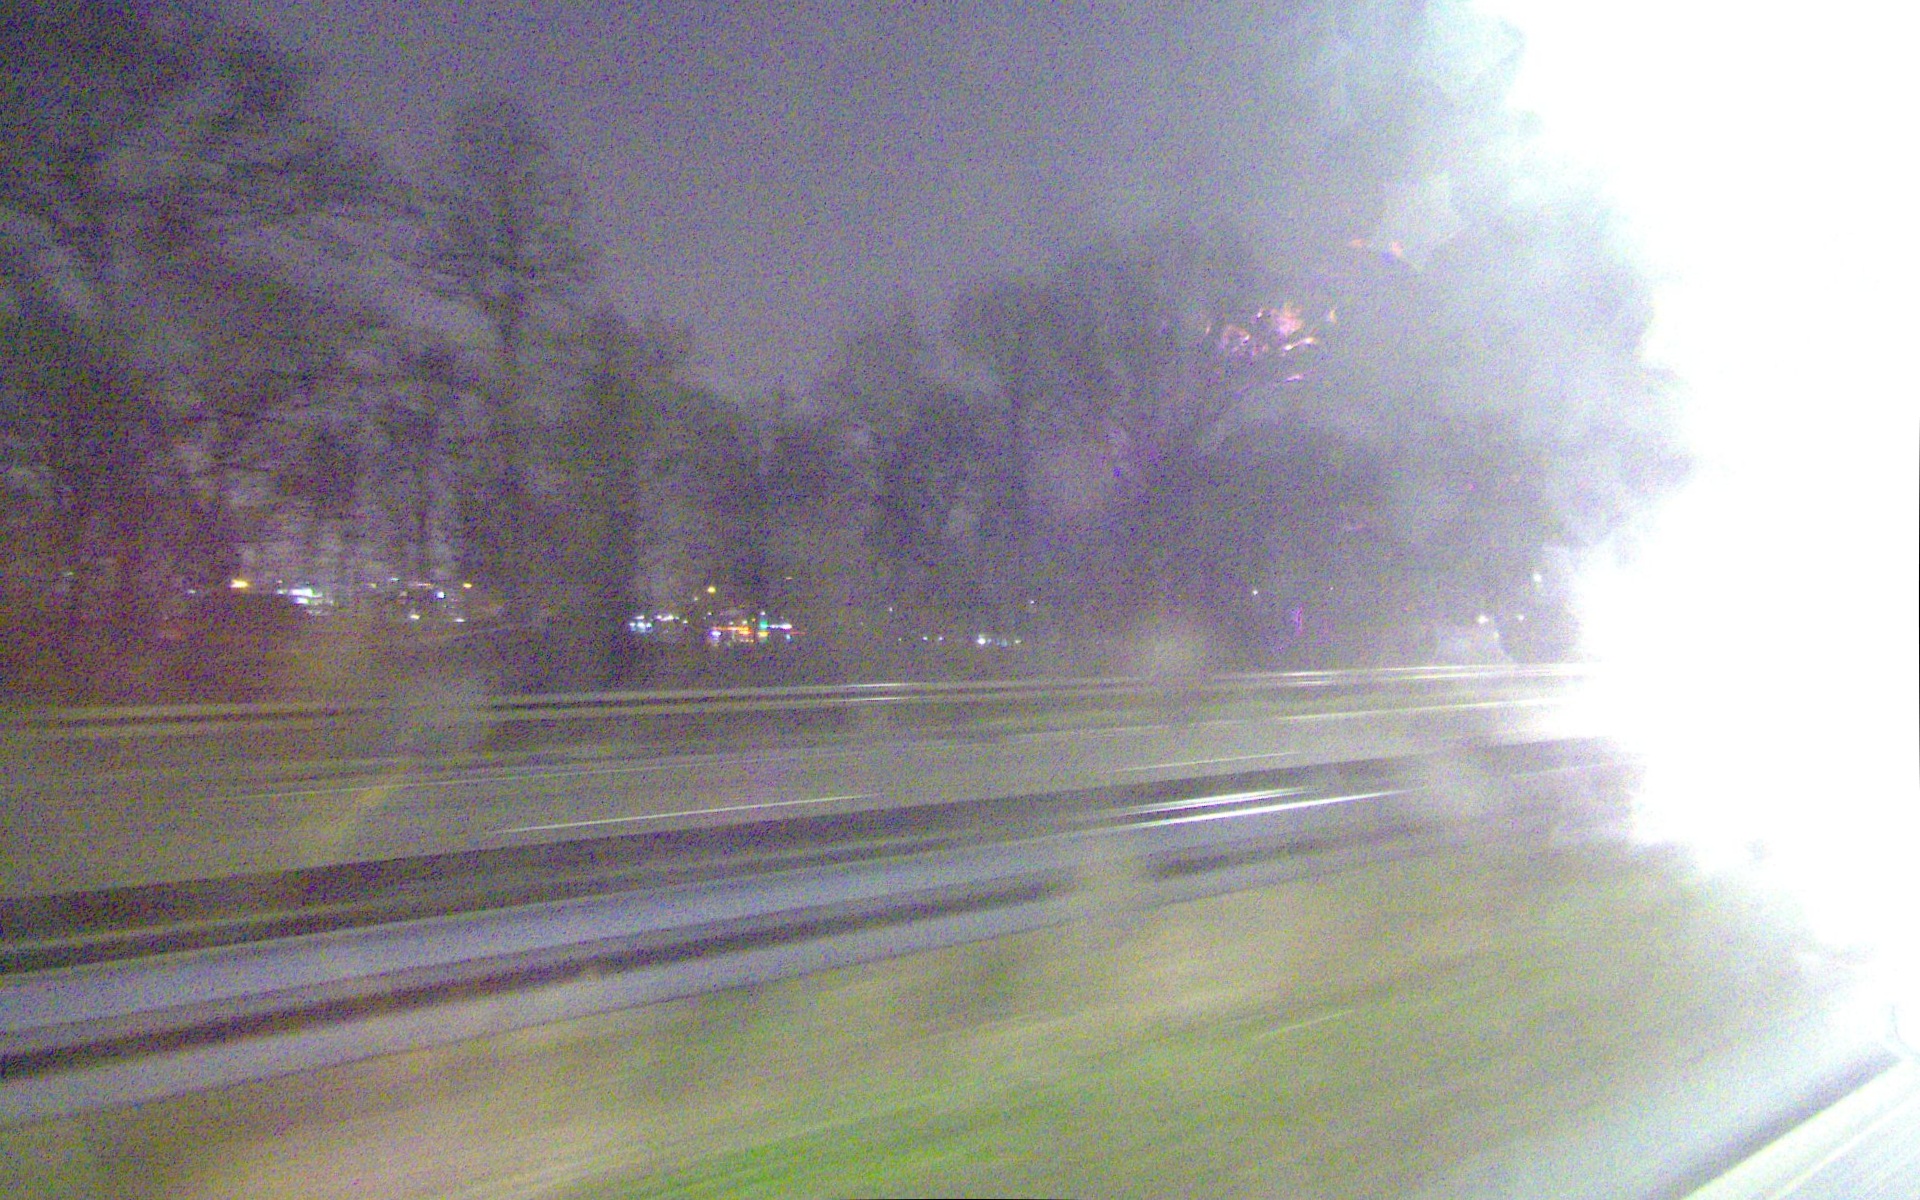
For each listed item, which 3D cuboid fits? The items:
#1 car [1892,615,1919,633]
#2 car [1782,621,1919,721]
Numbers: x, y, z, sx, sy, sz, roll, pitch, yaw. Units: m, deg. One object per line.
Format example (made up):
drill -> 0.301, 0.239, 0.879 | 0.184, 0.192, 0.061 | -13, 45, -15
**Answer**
car -> 97.410, 2.448, 102.617 | 1.961, 1.709, 3.997 | 2, 2, 23
car -> 16.977, 1.262, 18.668 | 3.960, 1.673, 1.610 | 1, -2, -35
